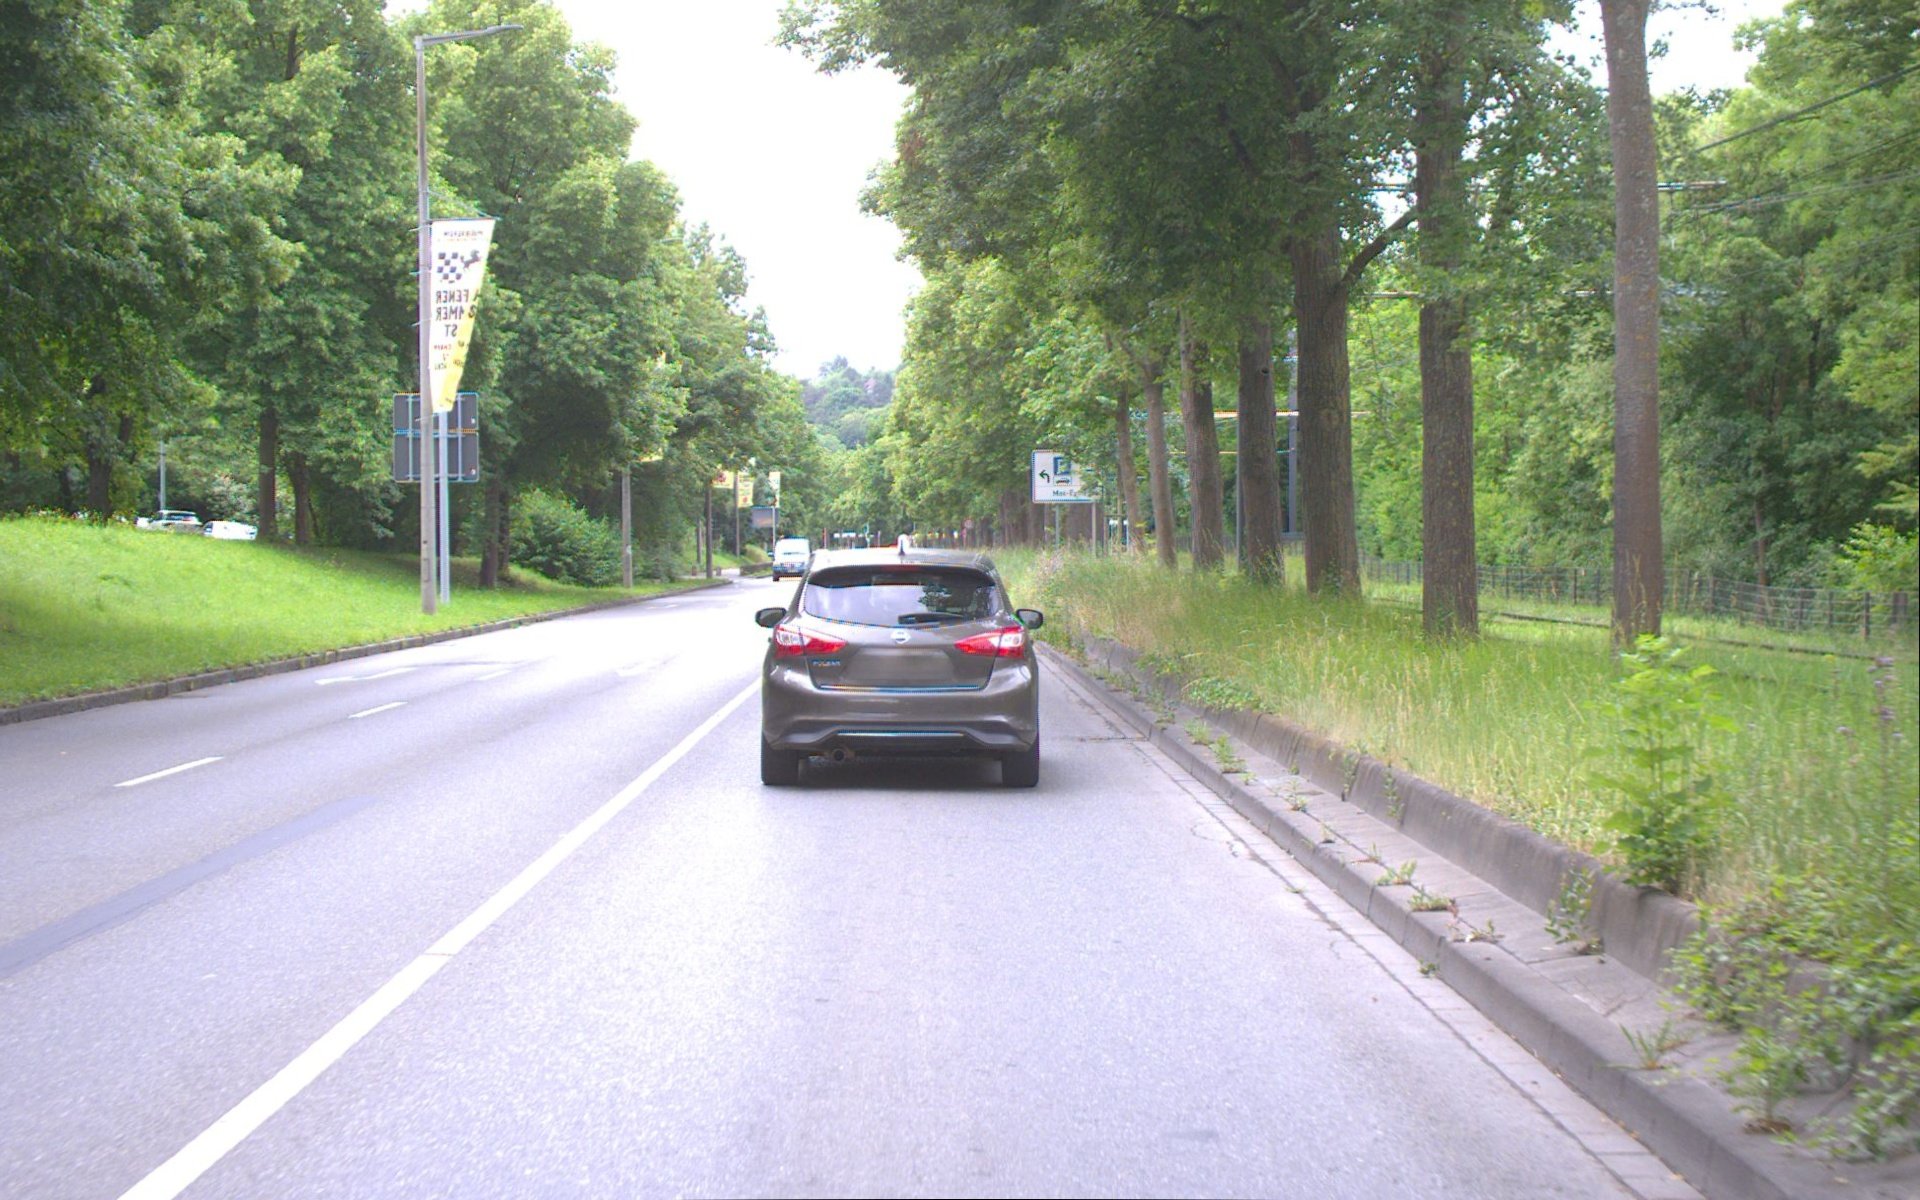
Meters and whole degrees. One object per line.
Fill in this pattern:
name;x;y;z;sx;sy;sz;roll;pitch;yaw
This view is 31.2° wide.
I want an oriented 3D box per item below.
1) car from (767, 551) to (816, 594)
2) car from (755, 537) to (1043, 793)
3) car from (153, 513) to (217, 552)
car;-7.821;-1.295;159.941;1.993;1.949;5.184;0;0;0
car;-0.414;0.383;22.778;1.730;1.532;3.552;1;0;-1
car;-30.518;-2.638;135.259;1.645;1.481;4.001;1;1;-24
